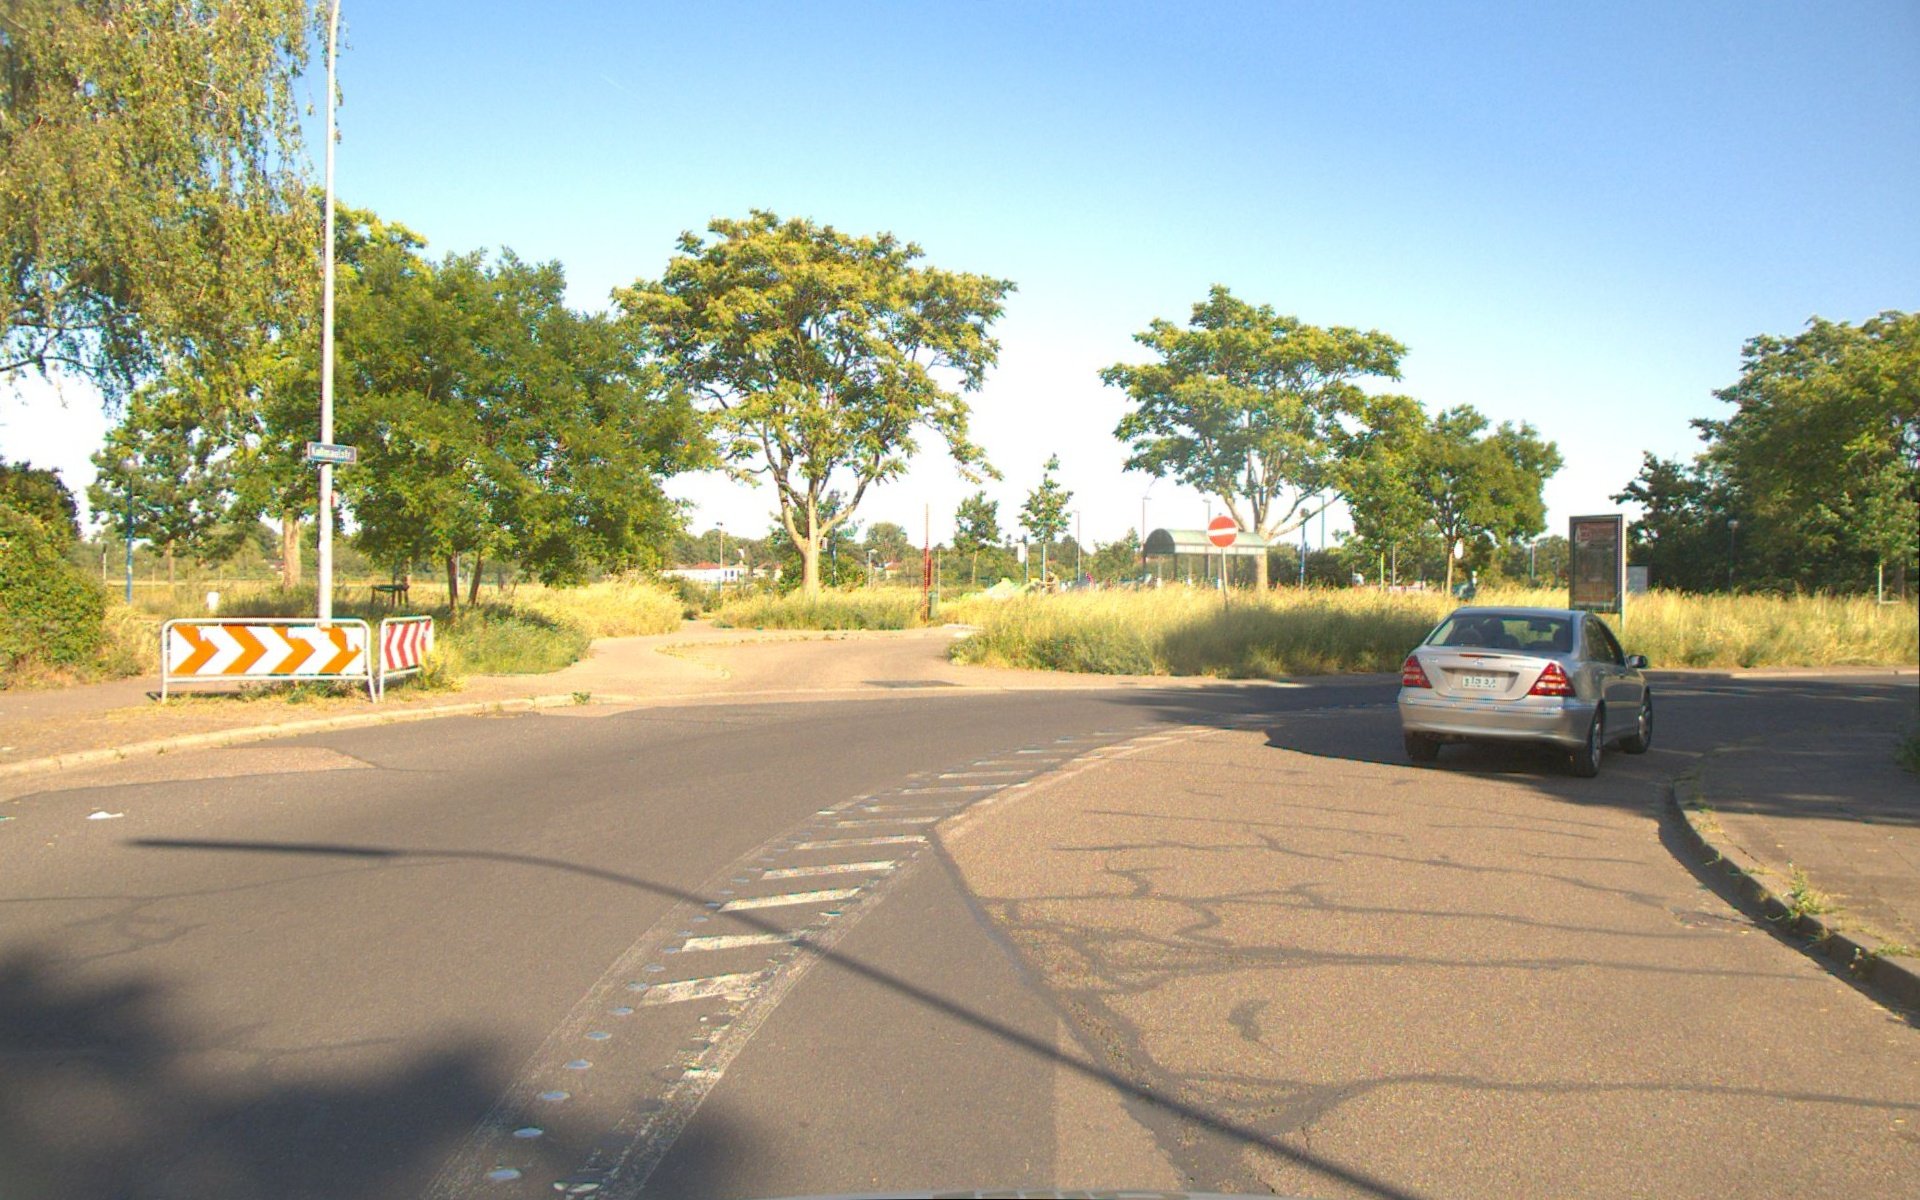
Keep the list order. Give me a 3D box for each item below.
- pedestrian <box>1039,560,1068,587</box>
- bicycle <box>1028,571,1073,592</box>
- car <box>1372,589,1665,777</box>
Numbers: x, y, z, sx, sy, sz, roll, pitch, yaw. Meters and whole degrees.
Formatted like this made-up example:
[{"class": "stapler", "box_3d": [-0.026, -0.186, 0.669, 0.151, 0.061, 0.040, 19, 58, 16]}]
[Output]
[{"class": "pedestrian", "box_3d": [3.378, -0.976, 59.796, 0.790, 0.957, 0.695, 1, 1, -34]}, {"class": "bicycle", "box_3d": [3.260, -0.656, 59.715, 1.557, 0.716, 0.646, 1, 1, -34]}, {"class": "car", "box_3d": [5.490, 0.680, 15.902, 1.783, 1.488, 4.351, 2, 1, 31]}]
